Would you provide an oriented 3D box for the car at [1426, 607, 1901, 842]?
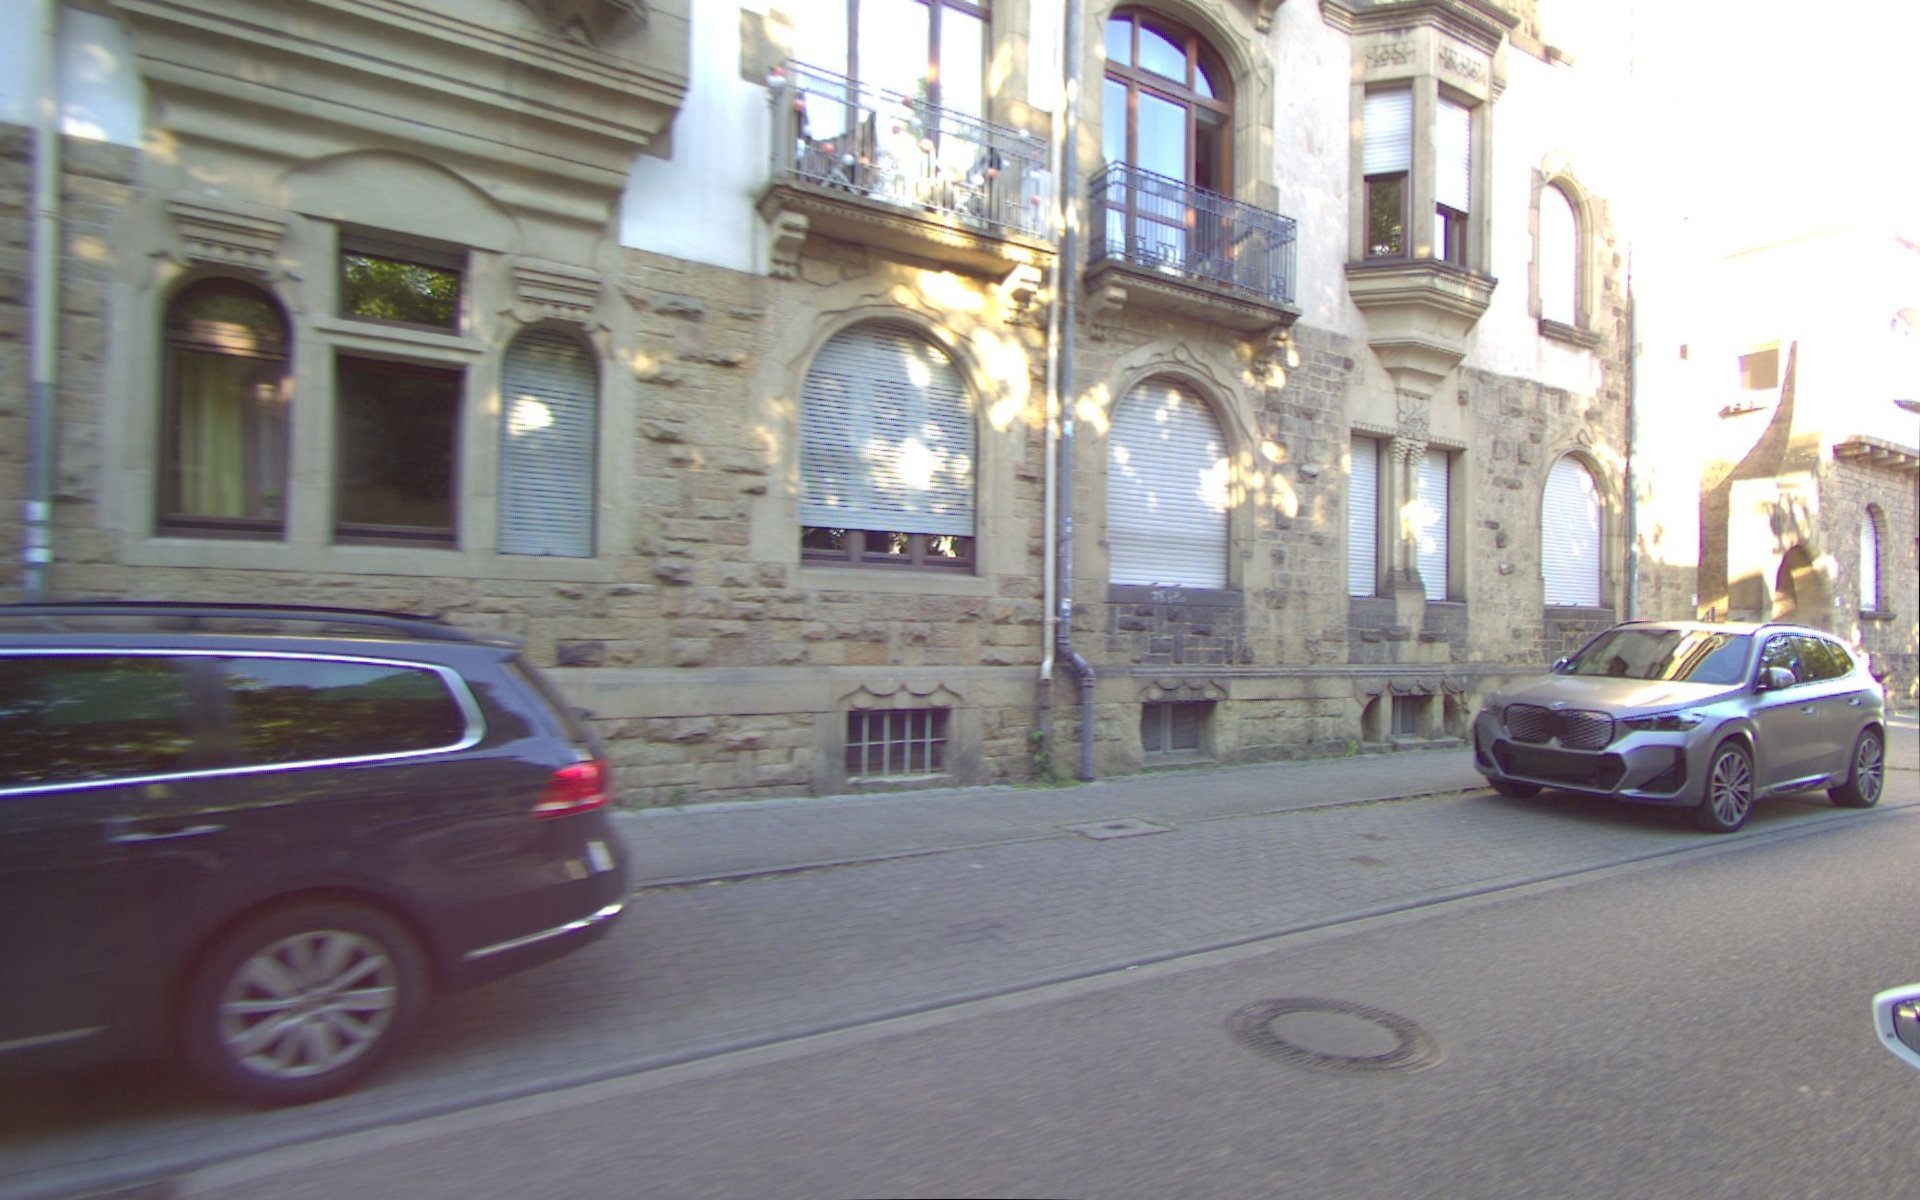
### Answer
[{"bbox_3d":[6.438,0.994,9.086,4.348,1.643,2.038,3,-3,-33],"label":"car"}]

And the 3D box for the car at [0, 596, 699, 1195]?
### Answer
[{"bbox_3d":[-3.395,0.784,3.202,4.652,1.595,1.722,3,-3,-29],"label":"car"}]
